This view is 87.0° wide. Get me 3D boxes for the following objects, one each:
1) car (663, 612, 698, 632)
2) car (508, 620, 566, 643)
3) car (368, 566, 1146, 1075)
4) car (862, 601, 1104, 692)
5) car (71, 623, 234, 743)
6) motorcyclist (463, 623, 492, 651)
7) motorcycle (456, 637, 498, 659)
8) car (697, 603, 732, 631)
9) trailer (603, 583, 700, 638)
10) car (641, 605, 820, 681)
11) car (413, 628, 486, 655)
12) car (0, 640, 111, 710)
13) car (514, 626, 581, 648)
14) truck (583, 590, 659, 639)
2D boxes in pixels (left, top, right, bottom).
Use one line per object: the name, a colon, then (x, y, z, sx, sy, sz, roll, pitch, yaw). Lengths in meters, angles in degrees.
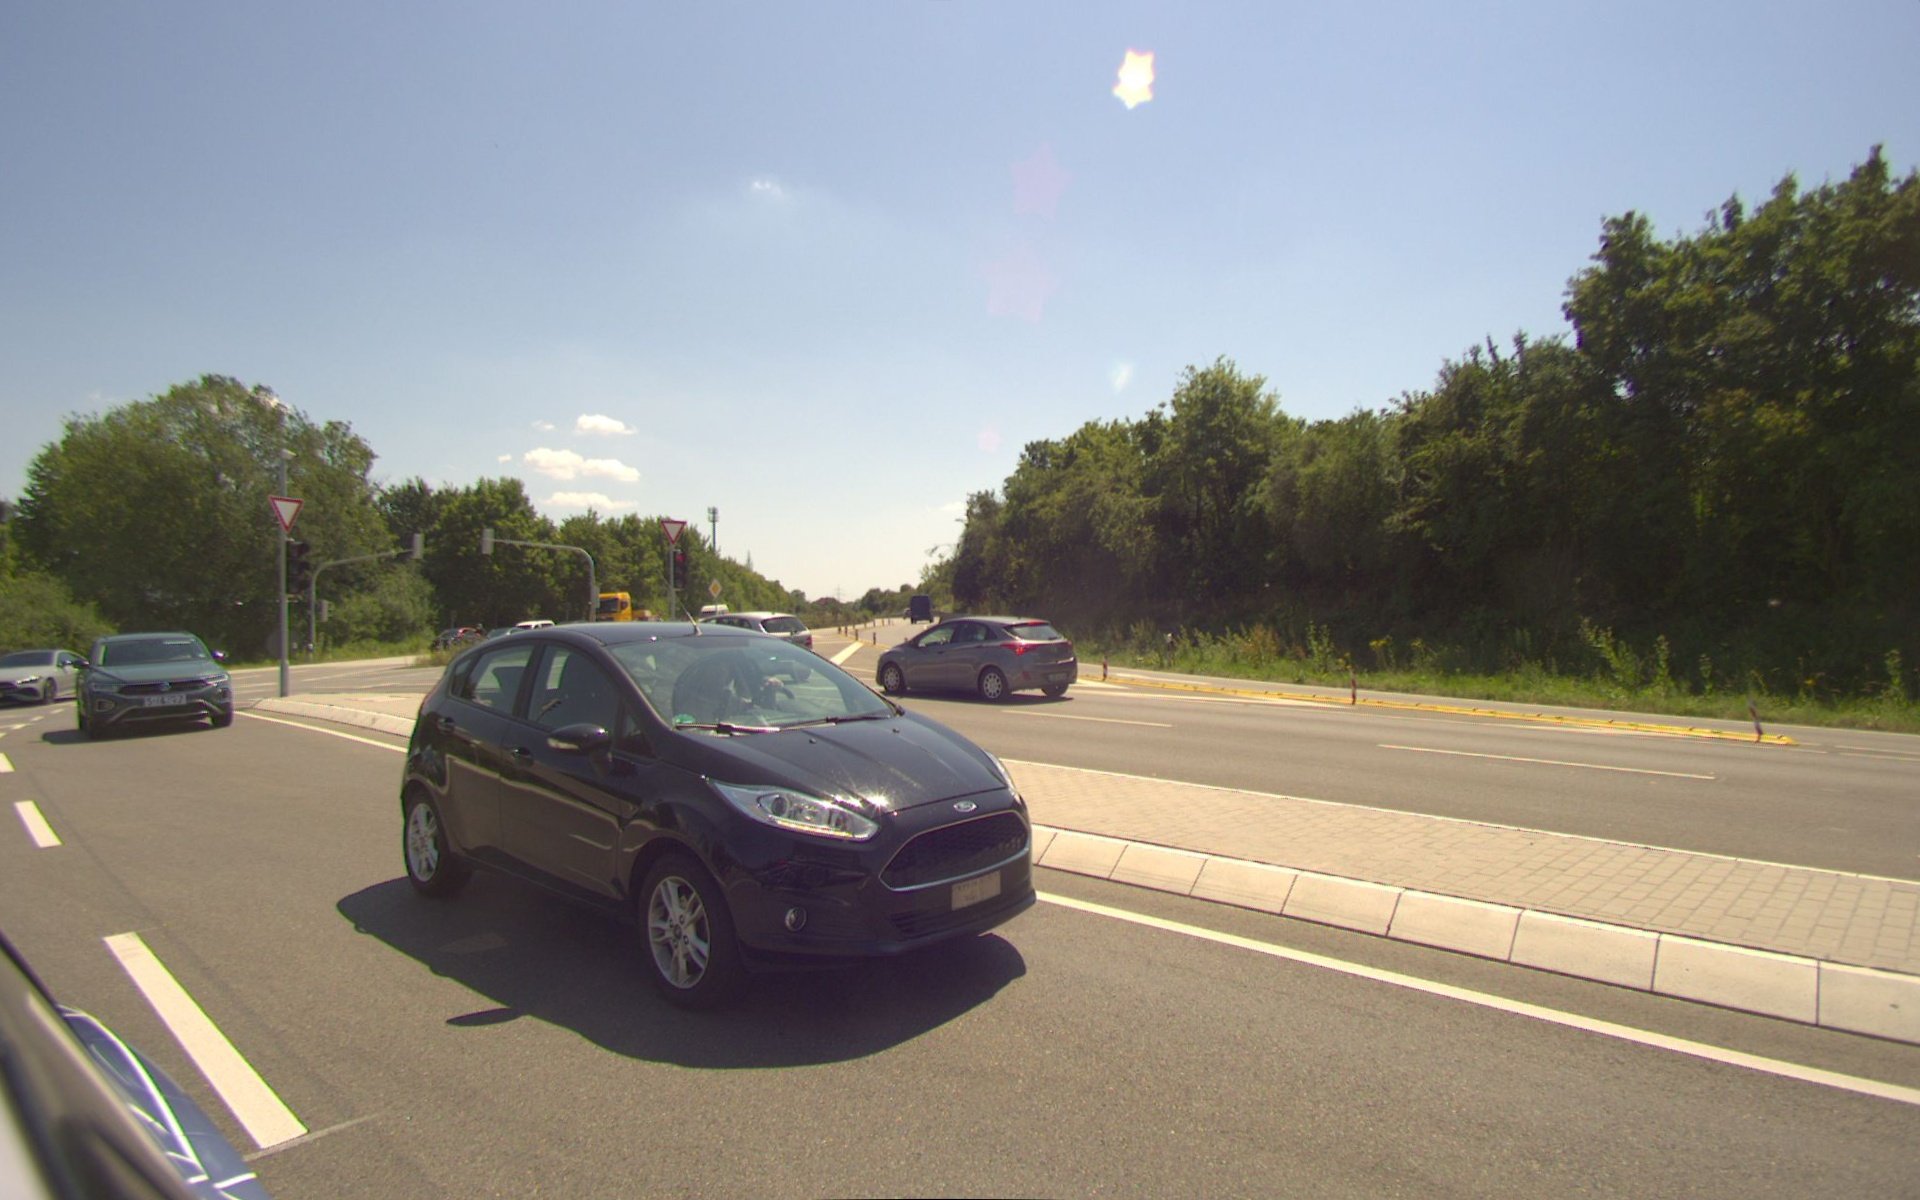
car: (-25.975, 2.057, 94.296, 2.139, 1.702, 3.932, -2, 0, 0)
car: (-30.427, 2.226, 72.901, 1.765, 1.464, 3.982, -2, 0, 14)
car: (-1.320, 0.695, 5.039, 4.207, 1.505, 1.635, -1, -2, 42)
car: (0.335, 0.807, 18.611, 4.224, 1.450, 1.971, -2, 0, 44)
car: (-13.115, 1.279, 16.392, 1.812, 1.598, 4.397, -2, -1, -40)
motorcyclist: (-26.120, 2.021, 54.784, 0.855, 1.500, 1.153, 0, -2, 22)
motorcycle: (-26.111, 2.590, 54.737, 0.729, 1.147, 2.057, 0, -3, 22)
car: (-24.359, 1.647, 100.493, 2.139, 2.627, 5.480, -2, 0, 0)
trailer: (-25.471, 0.834, 84.474, 3.034, 4.093, 13.153, -2, 0, 5)
car: (-5.471, 0.992, 23.887, 4.344, 1.611, 1.594, -2, 0, 36)
car: (-32.090, 2.593, 63.774, 1.981, 1.464, 3.982, -2, 0, 14)
car: (-24.978, 1.983, 27.210, 1.902, 1.598, 4.192, -2, 0, -20)
car: (-26.391, 2.371, 64.912, 1.981, 1.198, 3.982, -2, 0, 14)
truck: (-26.042, 1.073, 78.053, 2.949, 3.564, 6.844, -2, 0, 6)
